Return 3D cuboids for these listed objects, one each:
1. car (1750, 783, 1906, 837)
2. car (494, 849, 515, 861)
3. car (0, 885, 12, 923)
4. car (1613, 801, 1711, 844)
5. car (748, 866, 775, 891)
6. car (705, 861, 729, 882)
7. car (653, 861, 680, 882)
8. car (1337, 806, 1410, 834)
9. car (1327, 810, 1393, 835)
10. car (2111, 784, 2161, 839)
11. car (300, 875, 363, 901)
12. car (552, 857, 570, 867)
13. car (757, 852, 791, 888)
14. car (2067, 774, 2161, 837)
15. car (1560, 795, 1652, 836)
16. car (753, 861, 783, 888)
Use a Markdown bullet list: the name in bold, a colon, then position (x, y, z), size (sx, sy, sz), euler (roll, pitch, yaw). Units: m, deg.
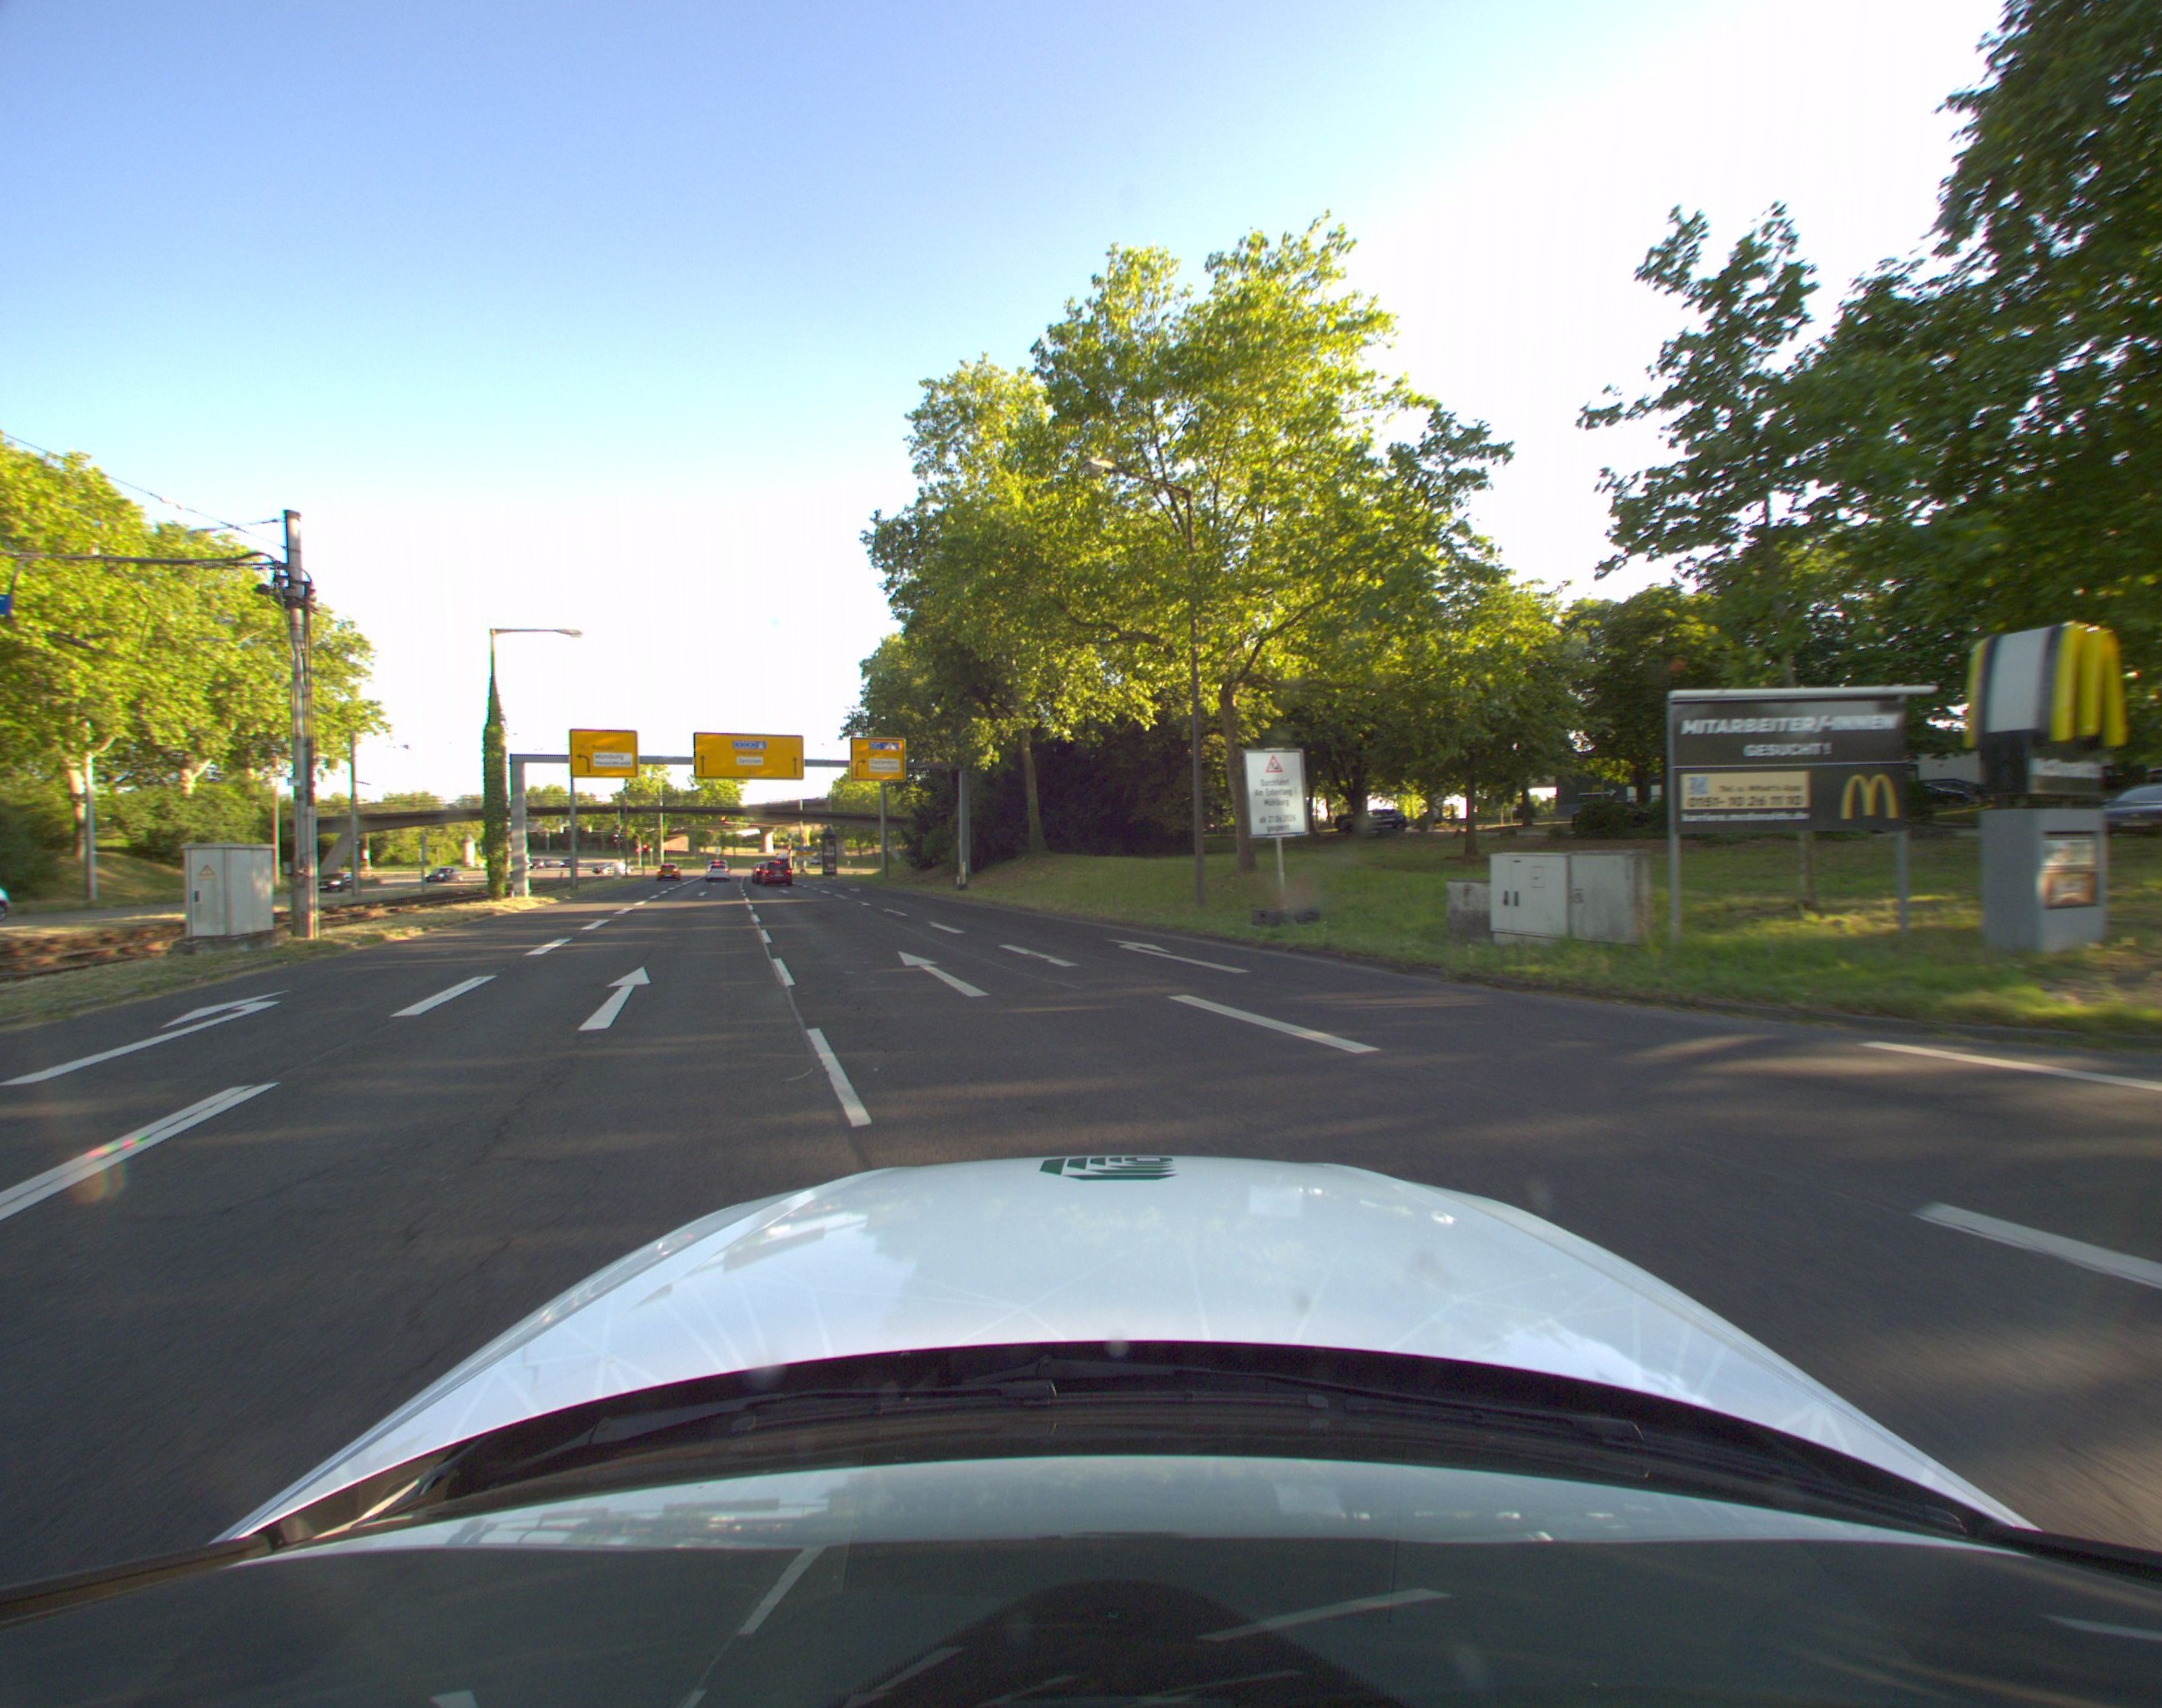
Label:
- **car**: position (26.699, -1.557, 29.124), size (4.898, 1.706, 1.987), euler (-3, 1, -19)
- **car**: position (-85.970, 0.194, 121.445), size (1.887, 1.772, 3.967), euler (0, 0, -25)
- **car**: position (-41.449, 1.931, 29.335), size (2.006, 1.440, 4.151), euler (-3, 1, -29)
- **car**: position (25.094, -1.356, 35.142), size (4.238, 1.687, 1.810), euler (-3, 1, -30)
- **car**: position (-24.957, 1.914, 63.594), size (1.800, 1.749, 3.969), euler (-3, 1, -23)
- **car**: position (-30.149, 1.433, 67.543), size (1.670, 1.565, 4.158), euler (-3, 1, -23)
- **car**: position (-34.994, 1.452, 68.839), size (1.670, 1.565, 3.969), euler (-3, 1, -23)
- **car**: position (18.054, -2.088, 50.302), size (3.998, 1.552, 1.797), euler (-3, 0, -18)
- **car**: position (19.630, -2.237, 57.427), size (3.986, 1.552, 1.802), euler (-2, 0, -9)
- **car**: position (35.853, -1.426, 26.485), size (3.497, 1.730, 1.671), euler (-3, 1, -15)
- **car**: position (-54.590, 2.438, 59.427), size (2.002, 1.681, 4.159), euler (-2, 0, -22)
- **car**: position (-82.982, 1.275, 129.928), size (1.887, 1.575, 3.645), euler (0, 0, -25)
- **car**: position (-19.822, 0.986, 52.522), size (1.800, 2.105, 3.969), euler (-3, 1, -24)
- **car**: position (29.303, -1.348, 22.143), size (4.408, 1.574, 2.028), euler (-3, 1, -24)
- **car**: position (23.454, -1.718, 36.359), size (4.240, 1.687, 1.809), euler (-3, 1, -32)
- **car**: position (-22.349, 1.434, 58.098), size (1.800, 1.749, 4.208), euler (-3, 1, -23)
